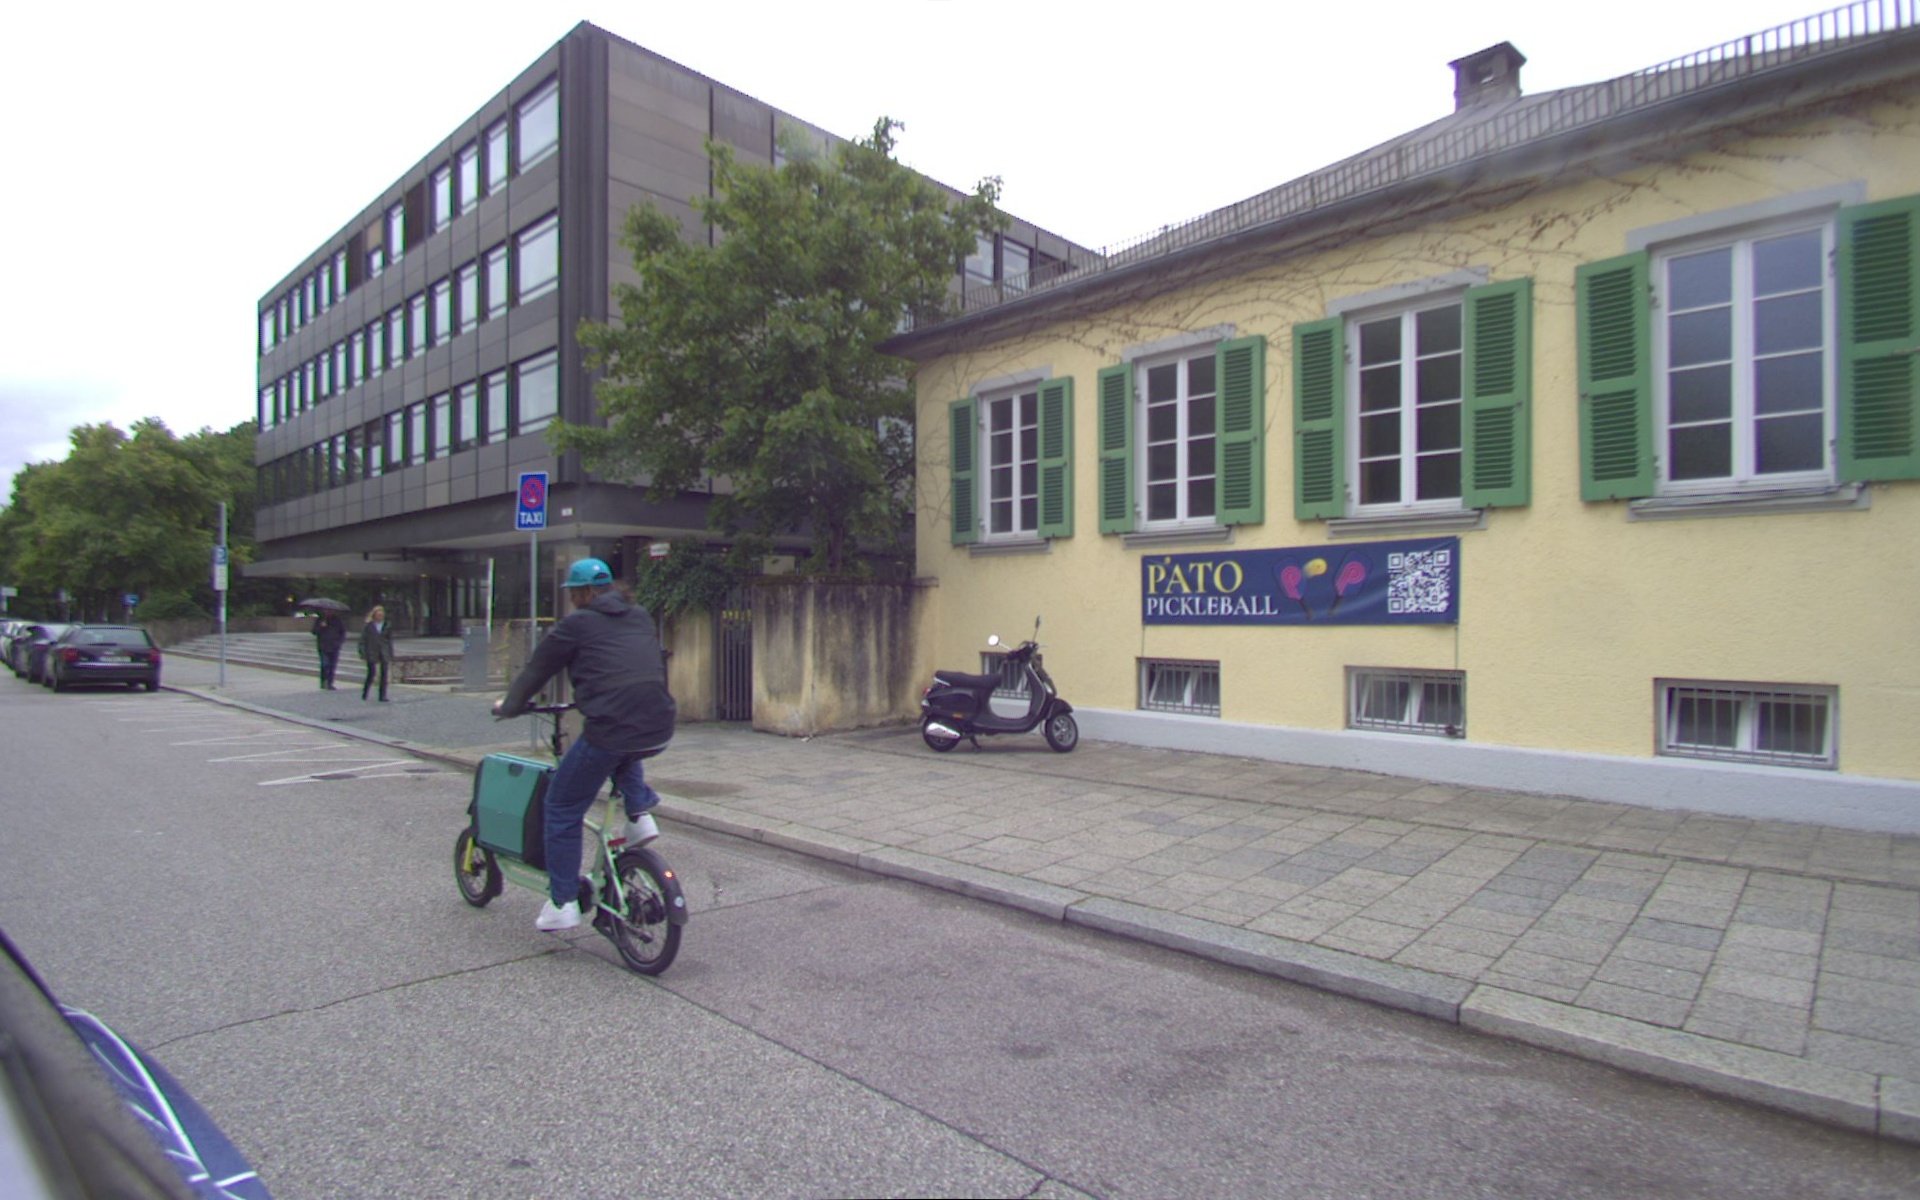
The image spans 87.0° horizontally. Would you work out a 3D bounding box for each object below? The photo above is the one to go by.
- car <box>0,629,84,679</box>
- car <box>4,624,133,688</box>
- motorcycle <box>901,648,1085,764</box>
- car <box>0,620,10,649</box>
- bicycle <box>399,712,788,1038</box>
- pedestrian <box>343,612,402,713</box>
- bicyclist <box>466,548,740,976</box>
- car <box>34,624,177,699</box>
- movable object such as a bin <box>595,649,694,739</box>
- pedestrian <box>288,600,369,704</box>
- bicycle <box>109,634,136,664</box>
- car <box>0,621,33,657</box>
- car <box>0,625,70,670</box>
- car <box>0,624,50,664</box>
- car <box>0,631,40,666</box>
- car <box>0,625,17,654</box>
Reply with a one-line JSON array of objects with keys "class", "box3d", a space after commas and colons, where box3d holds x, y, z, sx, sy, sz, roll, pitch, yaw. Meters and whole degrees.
[{"class": "car", "box3d": [-29.067, 1.685, 32.003, 4.239, 1.472, 1.720, -1, -4, 45]}, {"class": "car", "box3d": [-23.137, 1.402, 26.198, 4.917, 1.450, 1.902, -1, -3, 42]}, {"class": "motorcycle", "box3d": [0.353, 1.081, 10.372, 1.816, 1.109, 0.557, -1, 0, 7]}, {"class": "car", "box3d": [-53.948, 1.883, 55.903, 4.365, 1.555, 1.971, -2, -2, 44]}, {"class": "bicycle", "box3d": [-1.718, 1.079, 4.526, 2.138, 1.012, 0.615, -1, -3, 40]}, {"class": "pedestrian", "box3d": [-10.798, 1.122, 18.596, 0.743, 1.762, 0.954, -2, 0, -40]}, {"class": "bicyclist", "box3d": [-1.546, 0.612, 4.369, 0.976, 1.588, 0.735, -2, -2, 41]}, {"class": "car", "box3d": [-19.218, 1.305, 22.686, 4.885, 1.502, 1.971, -1, -3, 45]}, {"class": "movable object such as a bin", "box3d": [-4.072, 1.189, 13.065, 0.840, 1.072, 0.925, -2, -2, 41]}, {"class": "pedestrian", "box3d": [-13.123, 1.050, 21.037, 1.221, 2.070, 1.123, -1, -2, 42]}, {"class": "bicycle", "box3d": [-35.442, 2.063, 42.813, 1.527, 1.173, 0.636, -1, 1, 42]}, {"class": "car", "box3d": [-44.666, 1.794, 47.015, 4.522, 1.595, 1.972, -1, -2, 43]}, {"class": "car", "box3d": [-32.641, 1.643, 35.558, 4.280, 1.451, 1.662, -1, -4, 44]}, {"class": "car", "box3d": [-36.671, 1.712, 39.403, 3.553, 1.482, 1.526, -1, -3, 43]}, {"class": "car", "box3d": [-40.381, 2.013, 42.891, 4.219, 1.411, 1.738, -2, -5, 45]}, {"class": "car", "box3d": [-49.373, 1.993, 51.395, 4.649, 1.472, 1.971, -2, -2, 44]}]
